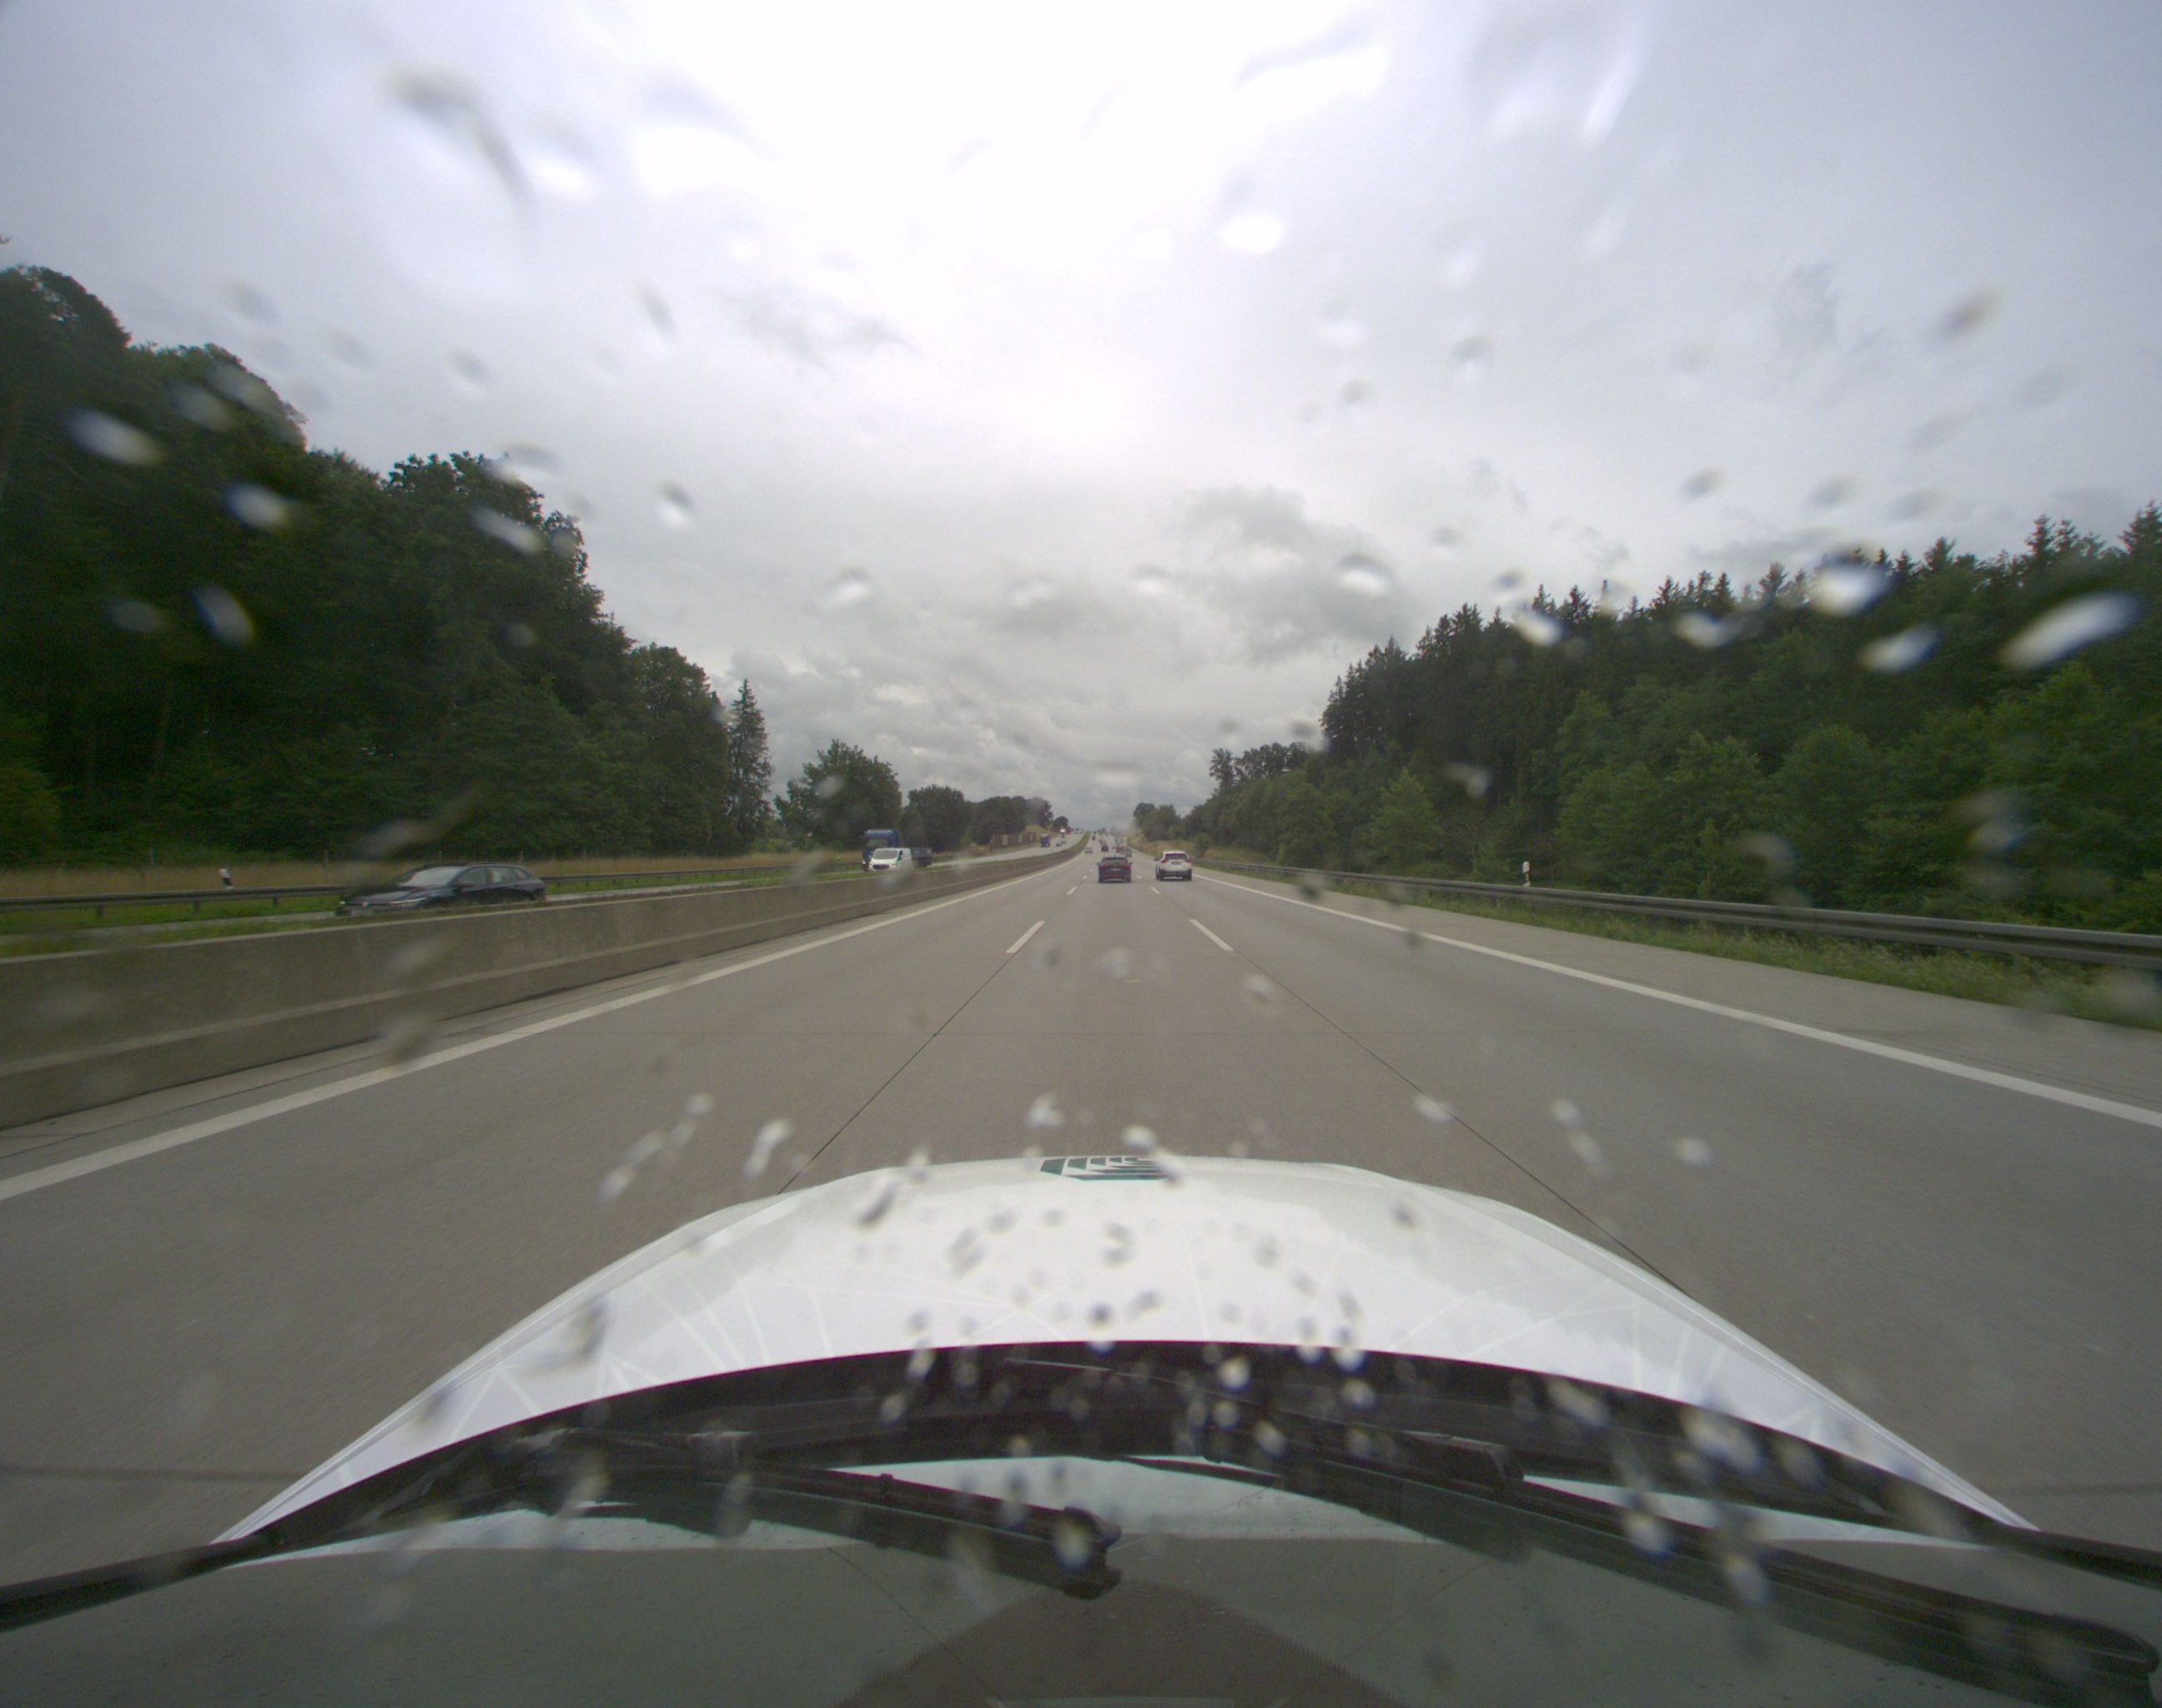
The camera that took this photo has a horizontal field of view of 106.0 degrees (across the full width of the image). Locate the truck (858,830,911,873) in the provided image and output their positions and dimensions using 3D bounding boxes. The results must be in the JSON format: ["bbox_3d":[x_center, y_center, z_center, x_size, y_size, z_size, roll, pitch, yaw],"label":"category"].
[{"bbox_3d":[-16.727,-0.212,69.675,2.746,3.517,6.643,0,0,2],"label":"truck"}]

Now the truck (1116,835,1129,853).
[{"bbox_3d":[10.059,-2.449,196.988,3.007,4.180,8.357,0,1,1],"label":"truck"}]

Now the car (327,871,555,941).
[{"bbox_3d":[-14.702,1.115,19.097,1.842,1.376,4.436,0,0,0],"label":"car"}]

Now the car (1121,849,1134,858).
[{"bbox_3d":[8.226,-0.142,144.341,1.987,1.530,4.000,0,0,0],"label":"car"}]

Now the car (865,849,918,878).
[{"bbox_3d":[-12.510,0.613,54.188,2.080,1.801,5.499,0,0,2],"label":"car"}]

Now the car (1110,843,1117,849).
[{"bbox_3d":[9.842,-2.407,243.046,1.985,1.640,4.004,0,1,3],"label":"car"}]

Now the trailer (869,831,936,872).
[{"bbox_3d":[-16.530,-0.197,76.644,2.775,3.508,13.890,0,0,2],"label":"trailer"}]

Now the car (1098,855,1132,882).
[{"bbox_3d":[1.849,0.763,44.115,1.745,1.398,4.487,0,-1,3],"label":"car"}]

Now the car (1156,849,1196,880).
[{"bbox_3d":[5.343,0.575,46.159,1.820,1.655,3.985,0,0,0],"label":"car"}]

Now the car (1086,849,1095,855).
[{"bbox_3d":[2.156,-0.501,191.466,1.939,1.356,4.262,-1,-2,3],"label":"car"}]

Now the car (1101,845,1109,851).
[{"bbox_3d":[6.055,-1.481,206.171,1.927,1.375,4.597,0,0,2],"label":"car"}]
